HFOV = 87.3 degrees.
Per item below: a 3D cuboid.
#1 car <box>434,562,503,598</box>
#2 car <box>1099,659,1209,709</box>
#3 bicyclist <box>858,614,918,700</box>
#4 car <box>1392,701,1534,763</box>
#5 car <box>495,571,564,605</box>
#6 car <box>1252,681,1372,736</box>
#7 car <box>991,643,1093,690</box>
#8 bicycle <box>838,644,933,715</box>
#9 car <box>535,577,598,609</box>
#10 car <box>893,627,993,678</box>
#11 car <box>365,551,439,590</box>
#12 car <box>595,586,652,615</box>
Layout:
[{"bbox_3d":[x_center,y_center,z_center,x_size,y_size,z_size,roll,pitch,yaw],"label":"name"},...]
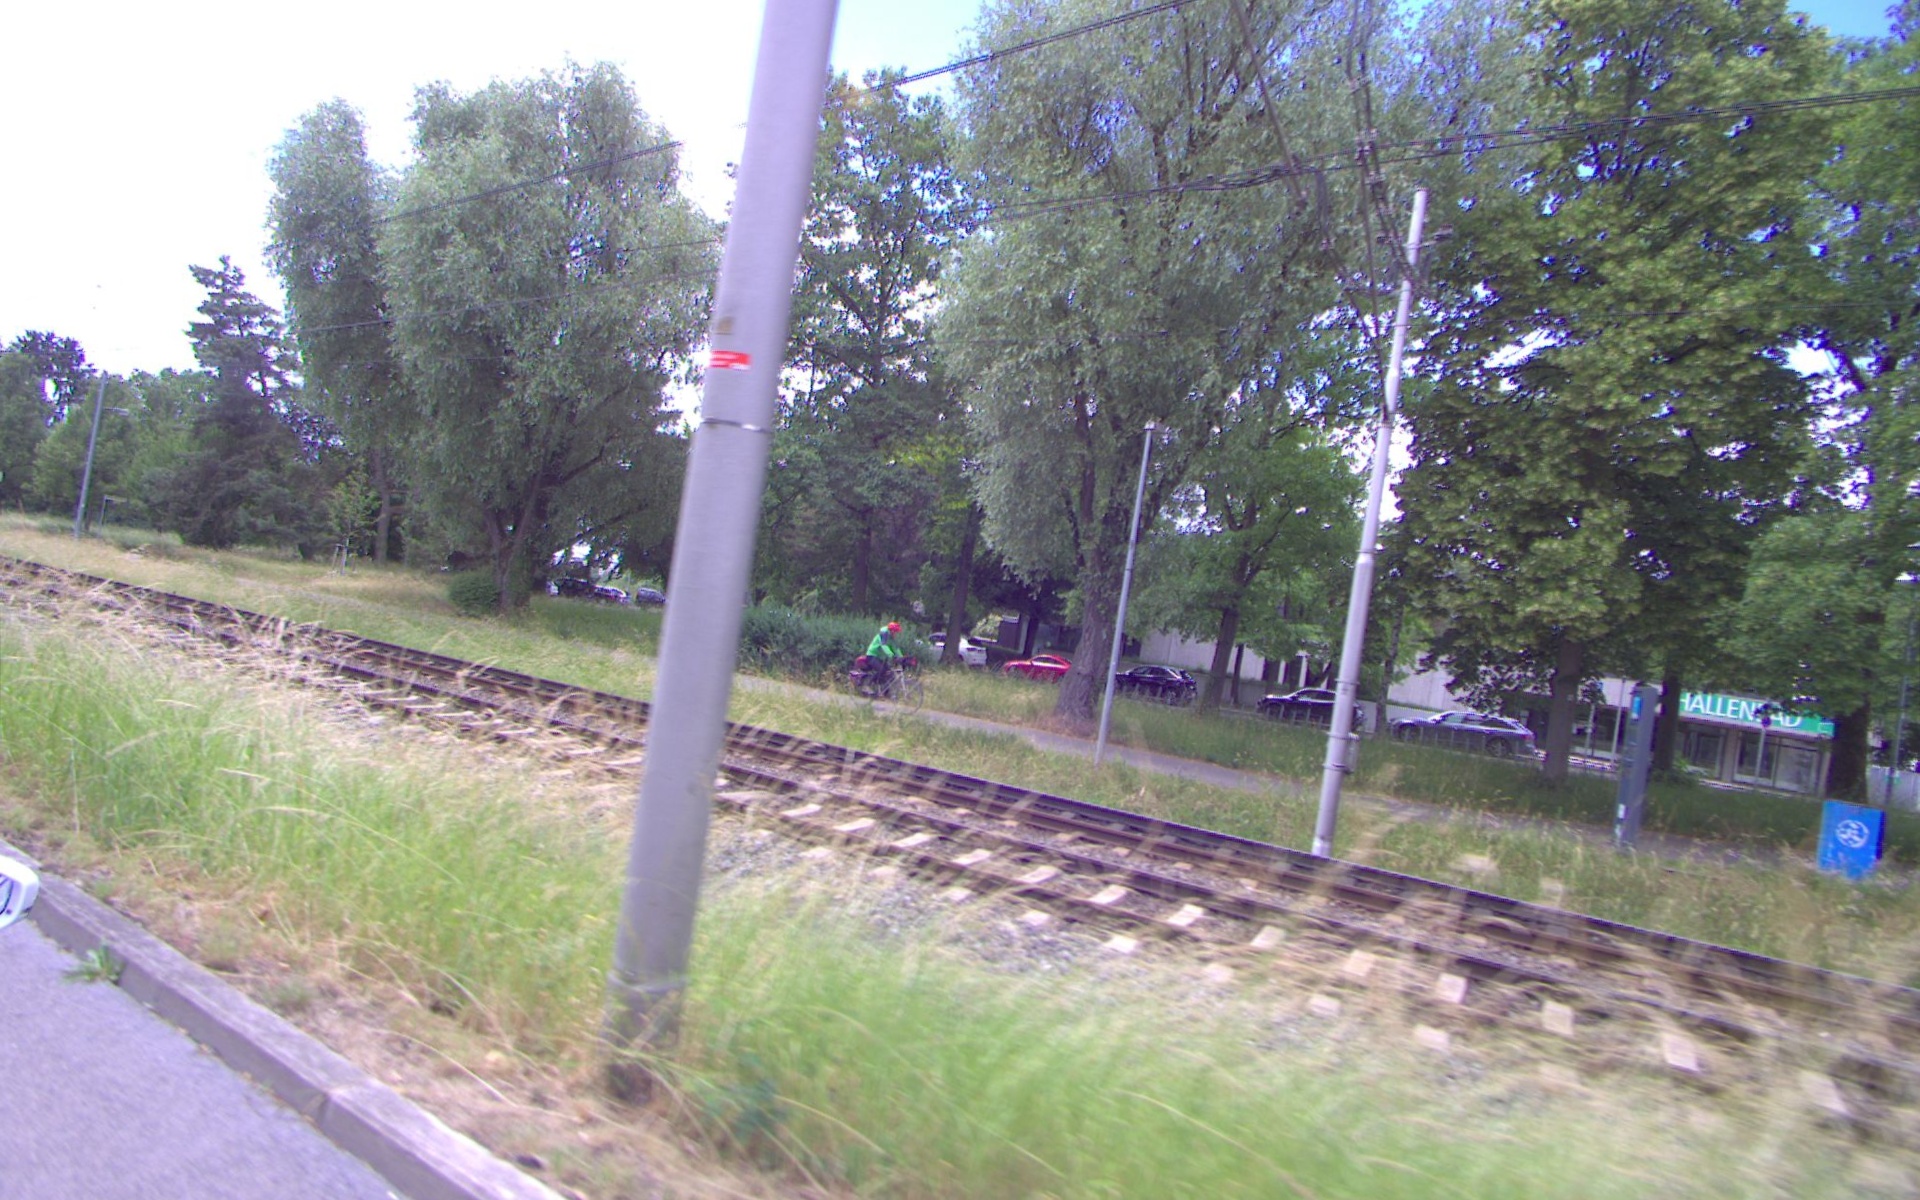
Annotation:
[{"bbox_3d":[-33.342,-1.351,68.215,3.925,1.823,1.752,8,-2,19],"label":"car"},{"bbox_3d":[8.120,3.501,42.074,3.934,1.458,1.999,7,-3,32],"label":"car"},{"bbox_3d":[-1.574,1.246,21.926,0.919,1.715,0.582,7,-2,28],"label":"bicyclist"},{"bbox_3d":[18.035,4.711,36.106,4.274,1.458,1.999,7,-3,32],"label":"car"},{"bbox_3d":[-31.347,-0.854,73.354,3.924,1.832,2.003,8,-2,6],"label":"car"},{"bbox_3d":[13.576,4.168,38.806,3.934,1.458,1.999,7,-3,32],"label":"car"},{"bbox_3d":[3.666,2.949,44.909,3.934,1.458,1.999,7,-3,32],"label":"car"},{"bbox_3d":[-1.641,1.723,21.915,1.896,1.260,0.582,7,-2,28],"label":"bicycle"},{"bbox_3d":[-30.663,-0.539,78.414,3.924,1.832,2.003,8,-2,6],"label":"car"},{"bbox_3d":[-0.818,2.477,47.728,4.159,1.718,1.999,7,-4,32],"label":"car"},{"bbox_3d":[-35.583,-1.874,64.131,3.925,1.823,1.752,8,-2,19],"label":"car"},{"bbox_3d":[-28.483,0.063,85.200,3.924,1.832,2.003,8,-2,6],"label":"car"}]
